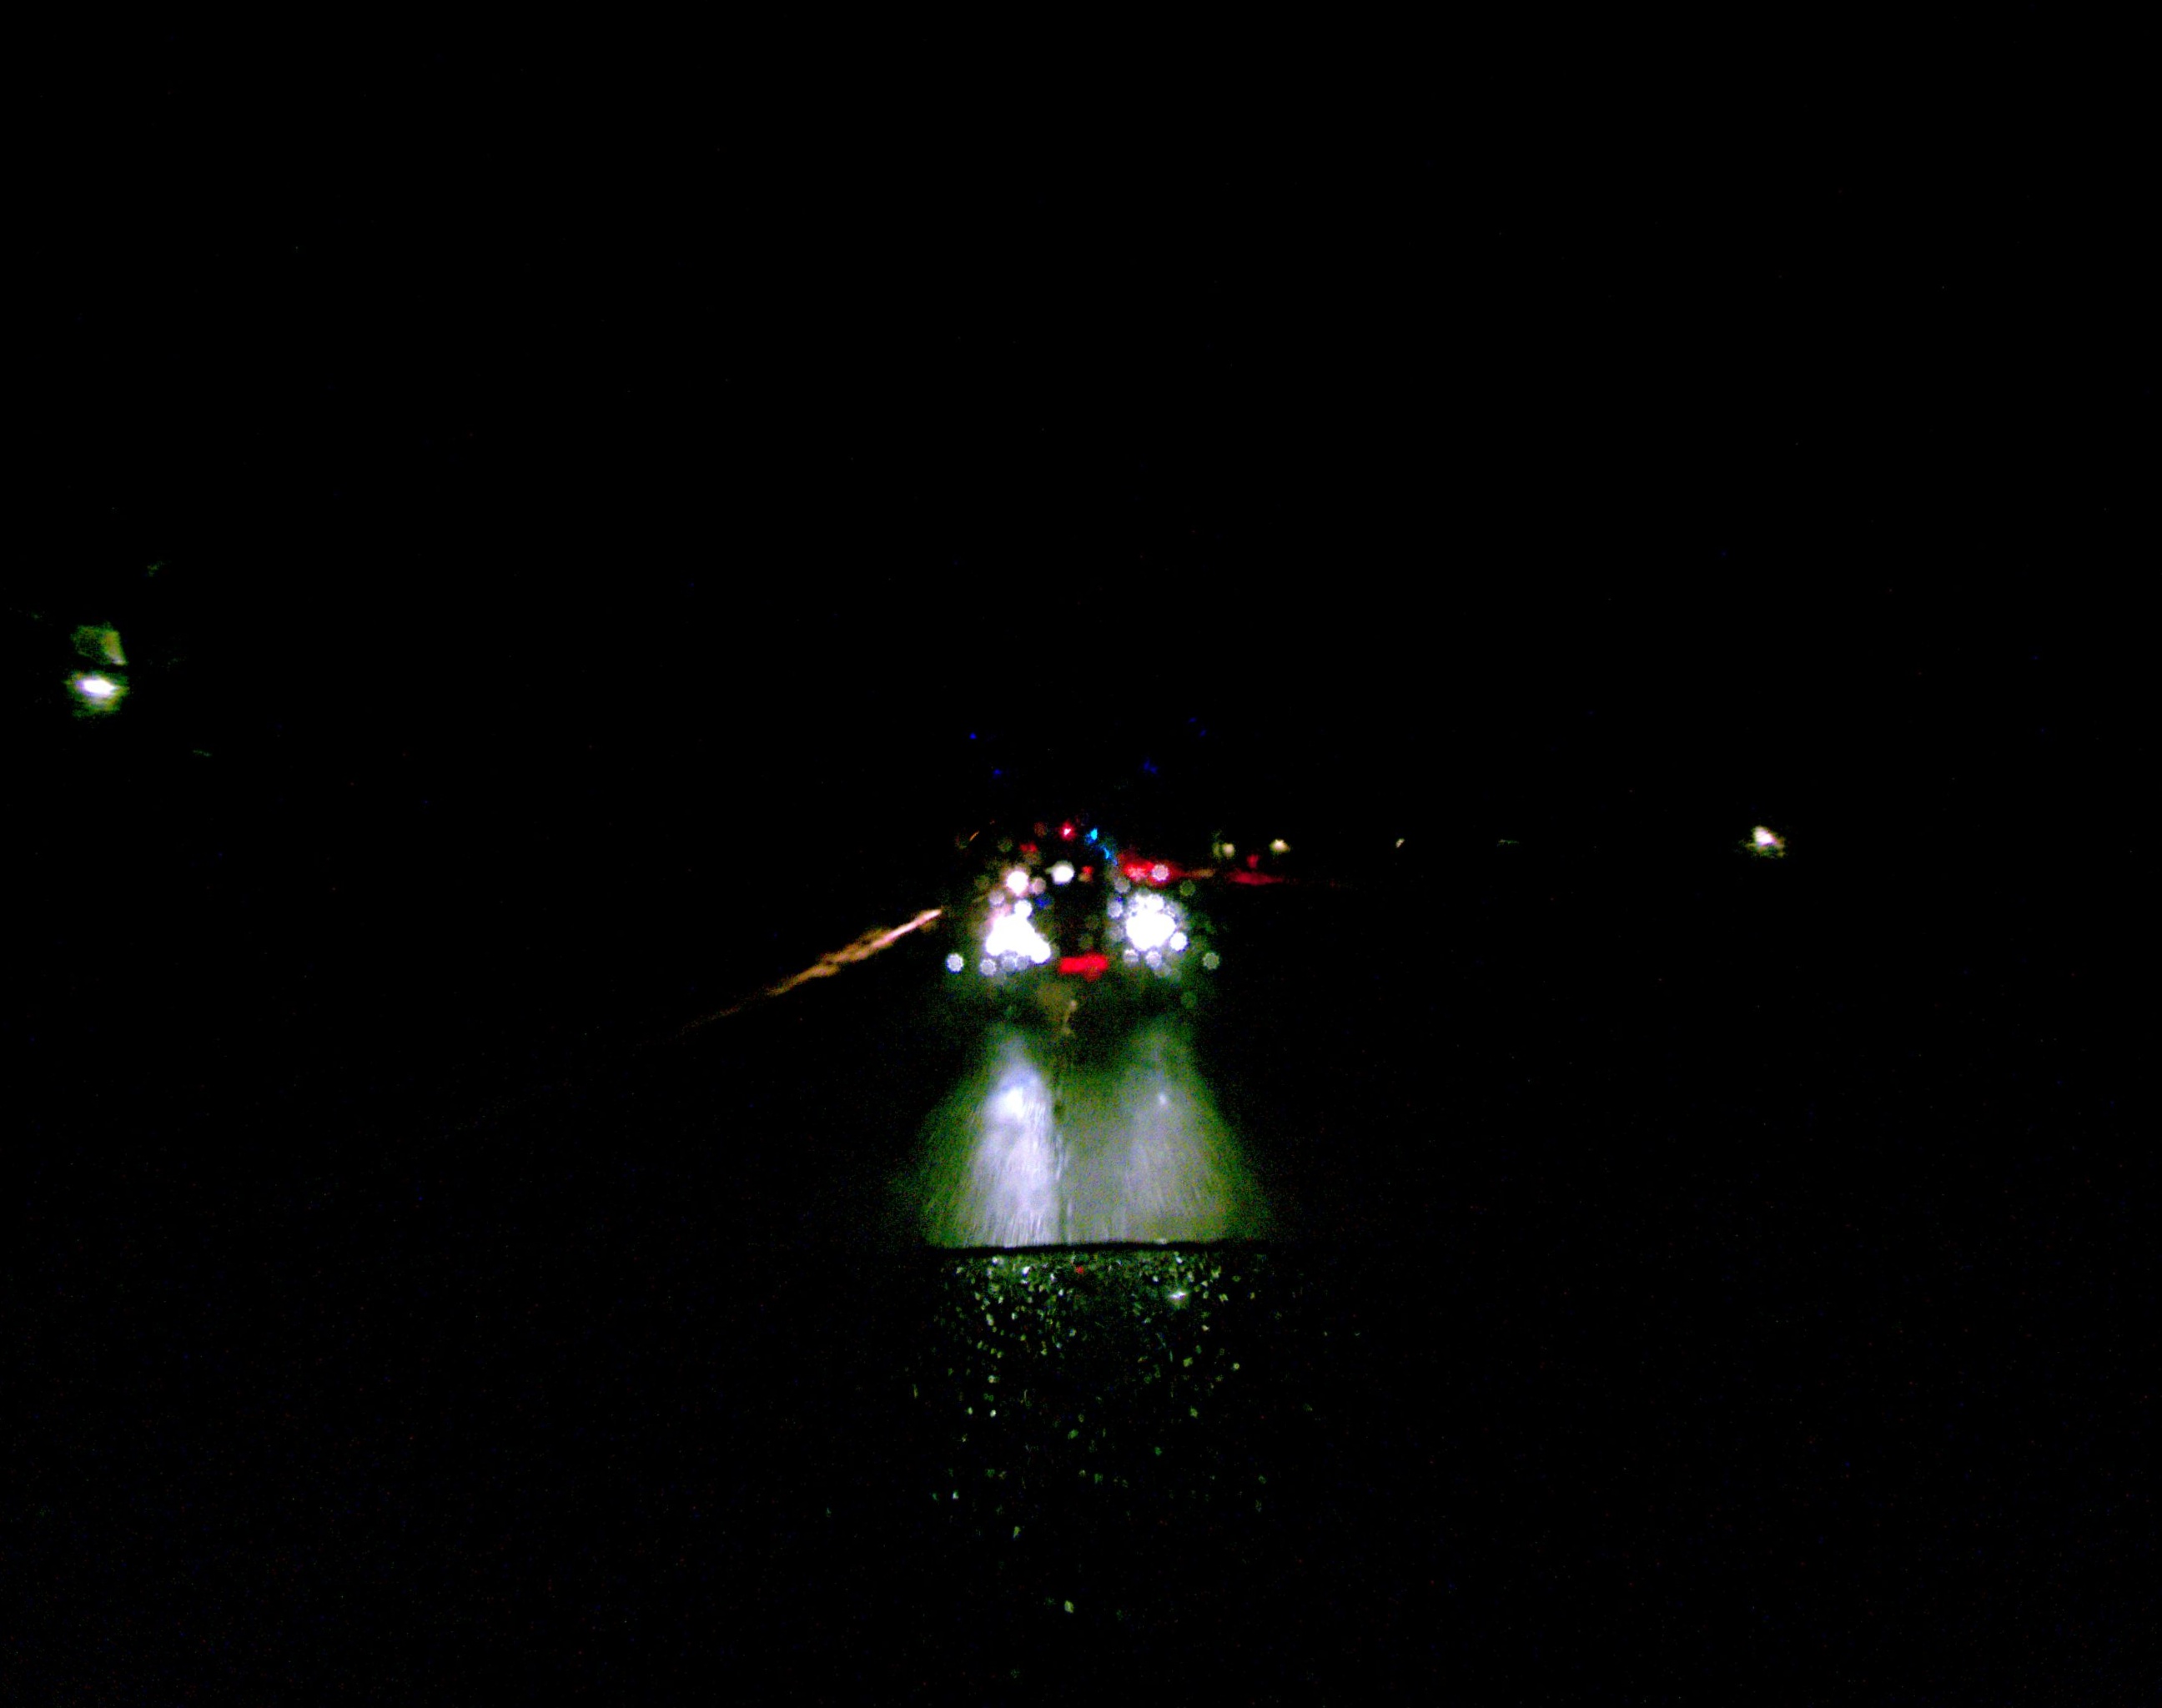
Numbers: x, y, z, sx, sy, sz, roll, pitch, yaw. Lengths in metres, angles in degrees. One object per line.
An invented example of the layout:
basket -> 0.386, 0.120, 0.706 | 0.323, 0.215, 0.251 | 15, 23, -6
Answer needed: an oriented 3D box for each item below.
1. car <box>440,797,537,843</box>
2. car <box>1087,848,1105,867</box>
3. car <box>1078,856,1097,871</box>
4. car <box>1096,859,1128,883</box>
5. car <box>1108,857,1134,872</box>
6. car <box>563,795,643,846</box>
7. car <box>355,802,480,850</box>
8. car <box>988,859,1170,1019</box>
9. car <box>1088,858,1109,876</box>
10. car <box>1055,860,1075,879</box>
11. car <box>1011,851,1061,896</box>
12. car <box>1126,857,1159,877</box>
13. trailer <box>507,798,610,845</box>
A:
car -> -23.943, -1.334, 30.873 | 1.618, 1.630, 3.995 | -2, 0, -15
car -> 2.135, 0.521, 109.903 | 2.128, 2.691, 6.239 | -2, 0, -2
car -> 0.651, 1.043, 82.670 | 1.849, 1.565, 4.596 | -2, 0, -2
car -> 2.031, 1.079, 50.734 | 1.699, 1.426, 4.291 | -3, 1, -3
car -> 4.051, 1.062, 77.813 | 2.083, 1.441, 4.991 | -2, 0, -3
car -> -27.205, -1.845, 43.464 | 2.121, 2.619, 5.444 | -2, 0, -13
car -> -22.891, -0.925, 26.419 | 1.618, 1.464, 3.995 | -2, 0, -15
car -> 0.004, 0.885, 10.139 | 1.809, 1.590, 4.787 | -1, 0, 1
car -> 1.729, 1.245, 75.022 | 1.810, 1.620, 4.415 | -2, 0, -1
car -> -1.309, 1.289, 63.249 | 1.625, 1.477, 3.785 | -2, -1, 0
car -> -1.956, 0.815, 34.333 | 1.759, 1.807, 4.710 | -3, 0, 2
car -> 4.716, 0.970, 58.714 | 1.923, 1.435, 4.545 | -2, 0, -2
trailer -> -25.956, -1.569, 38.039 | 2.234, 2.060, 5.714 | -2, 0, -13
